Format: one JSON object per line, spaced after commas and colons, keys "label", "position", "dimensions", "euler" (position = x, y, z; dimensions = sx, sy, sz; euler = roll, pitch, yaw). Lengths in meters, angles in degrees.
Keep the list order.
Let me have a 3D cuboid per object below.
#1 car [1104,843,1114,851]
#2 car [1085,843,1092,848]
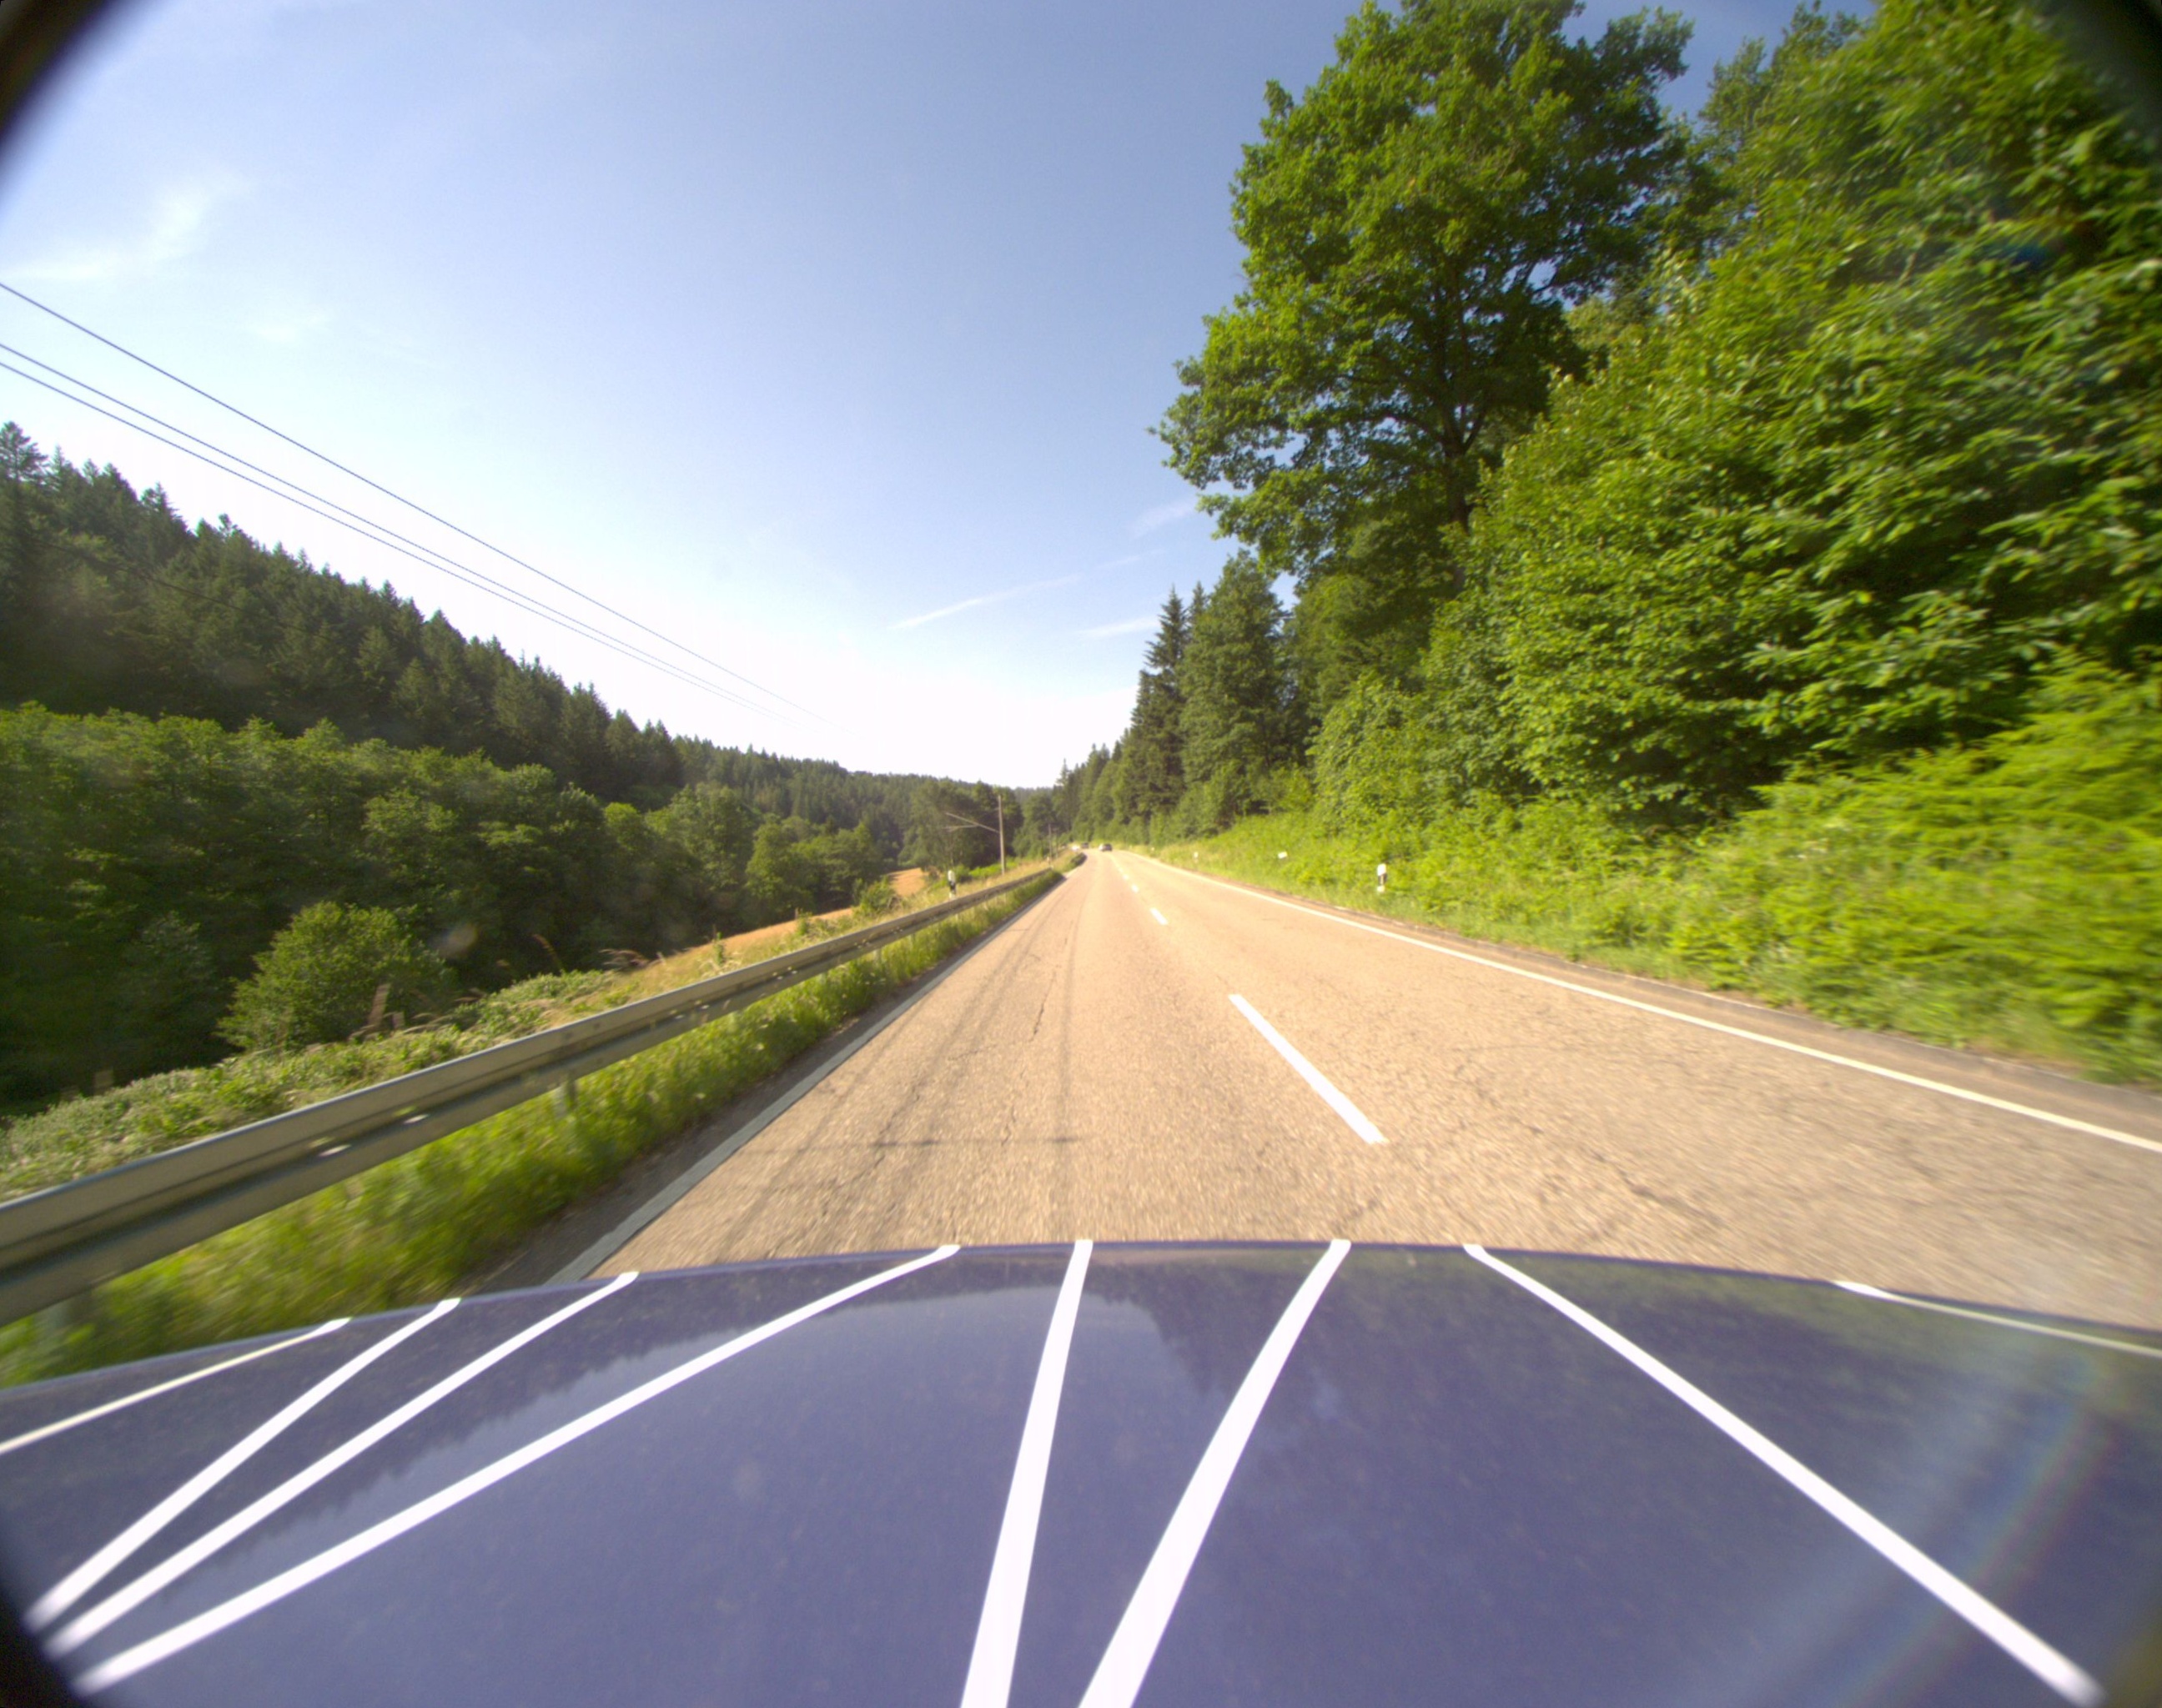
{"label": "car", "position": [5.547, -1.388, 152.060], "dimensions": [1.840, 1.572, 4.875], "euler": [-2, 1, 2]}
{"label": "car", "position": [2.157, -2.536, 222.465], "dimensions": [1.968, 1.568, 4.535], "euler": [-2, 1, 0]}
